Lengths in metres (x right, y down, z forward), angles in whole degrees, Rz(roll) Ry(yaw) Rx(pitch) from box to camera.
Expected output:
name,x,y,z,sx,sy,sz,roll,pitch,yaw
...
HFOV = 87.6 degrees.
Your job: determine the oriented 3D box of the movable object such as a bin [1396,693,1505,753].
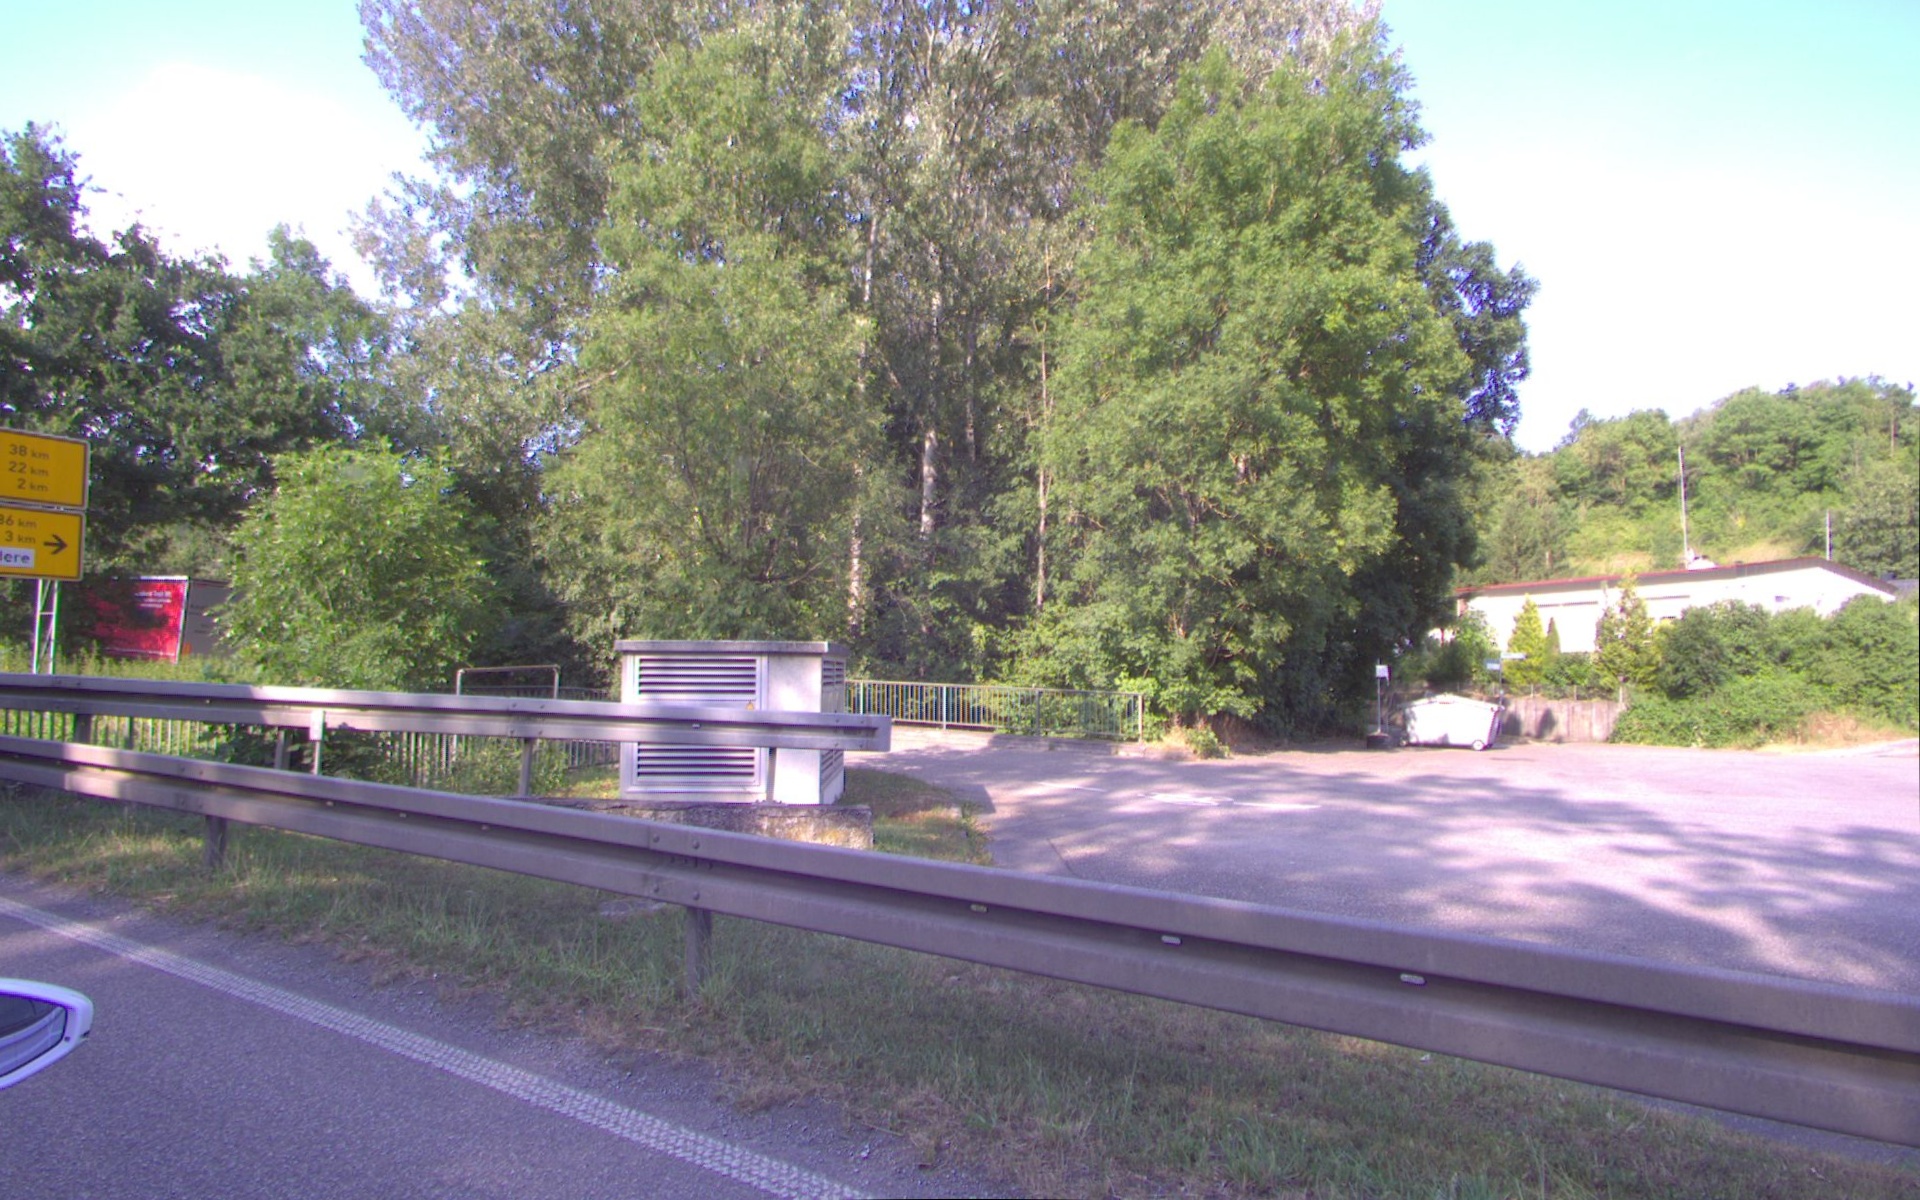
name,x,y,z,sx,sy,sz,roll,pitch,yaw
movable object such as a bin,13.071,3.245,26.694,2.521,1.436,1.265,-1,-6,32
